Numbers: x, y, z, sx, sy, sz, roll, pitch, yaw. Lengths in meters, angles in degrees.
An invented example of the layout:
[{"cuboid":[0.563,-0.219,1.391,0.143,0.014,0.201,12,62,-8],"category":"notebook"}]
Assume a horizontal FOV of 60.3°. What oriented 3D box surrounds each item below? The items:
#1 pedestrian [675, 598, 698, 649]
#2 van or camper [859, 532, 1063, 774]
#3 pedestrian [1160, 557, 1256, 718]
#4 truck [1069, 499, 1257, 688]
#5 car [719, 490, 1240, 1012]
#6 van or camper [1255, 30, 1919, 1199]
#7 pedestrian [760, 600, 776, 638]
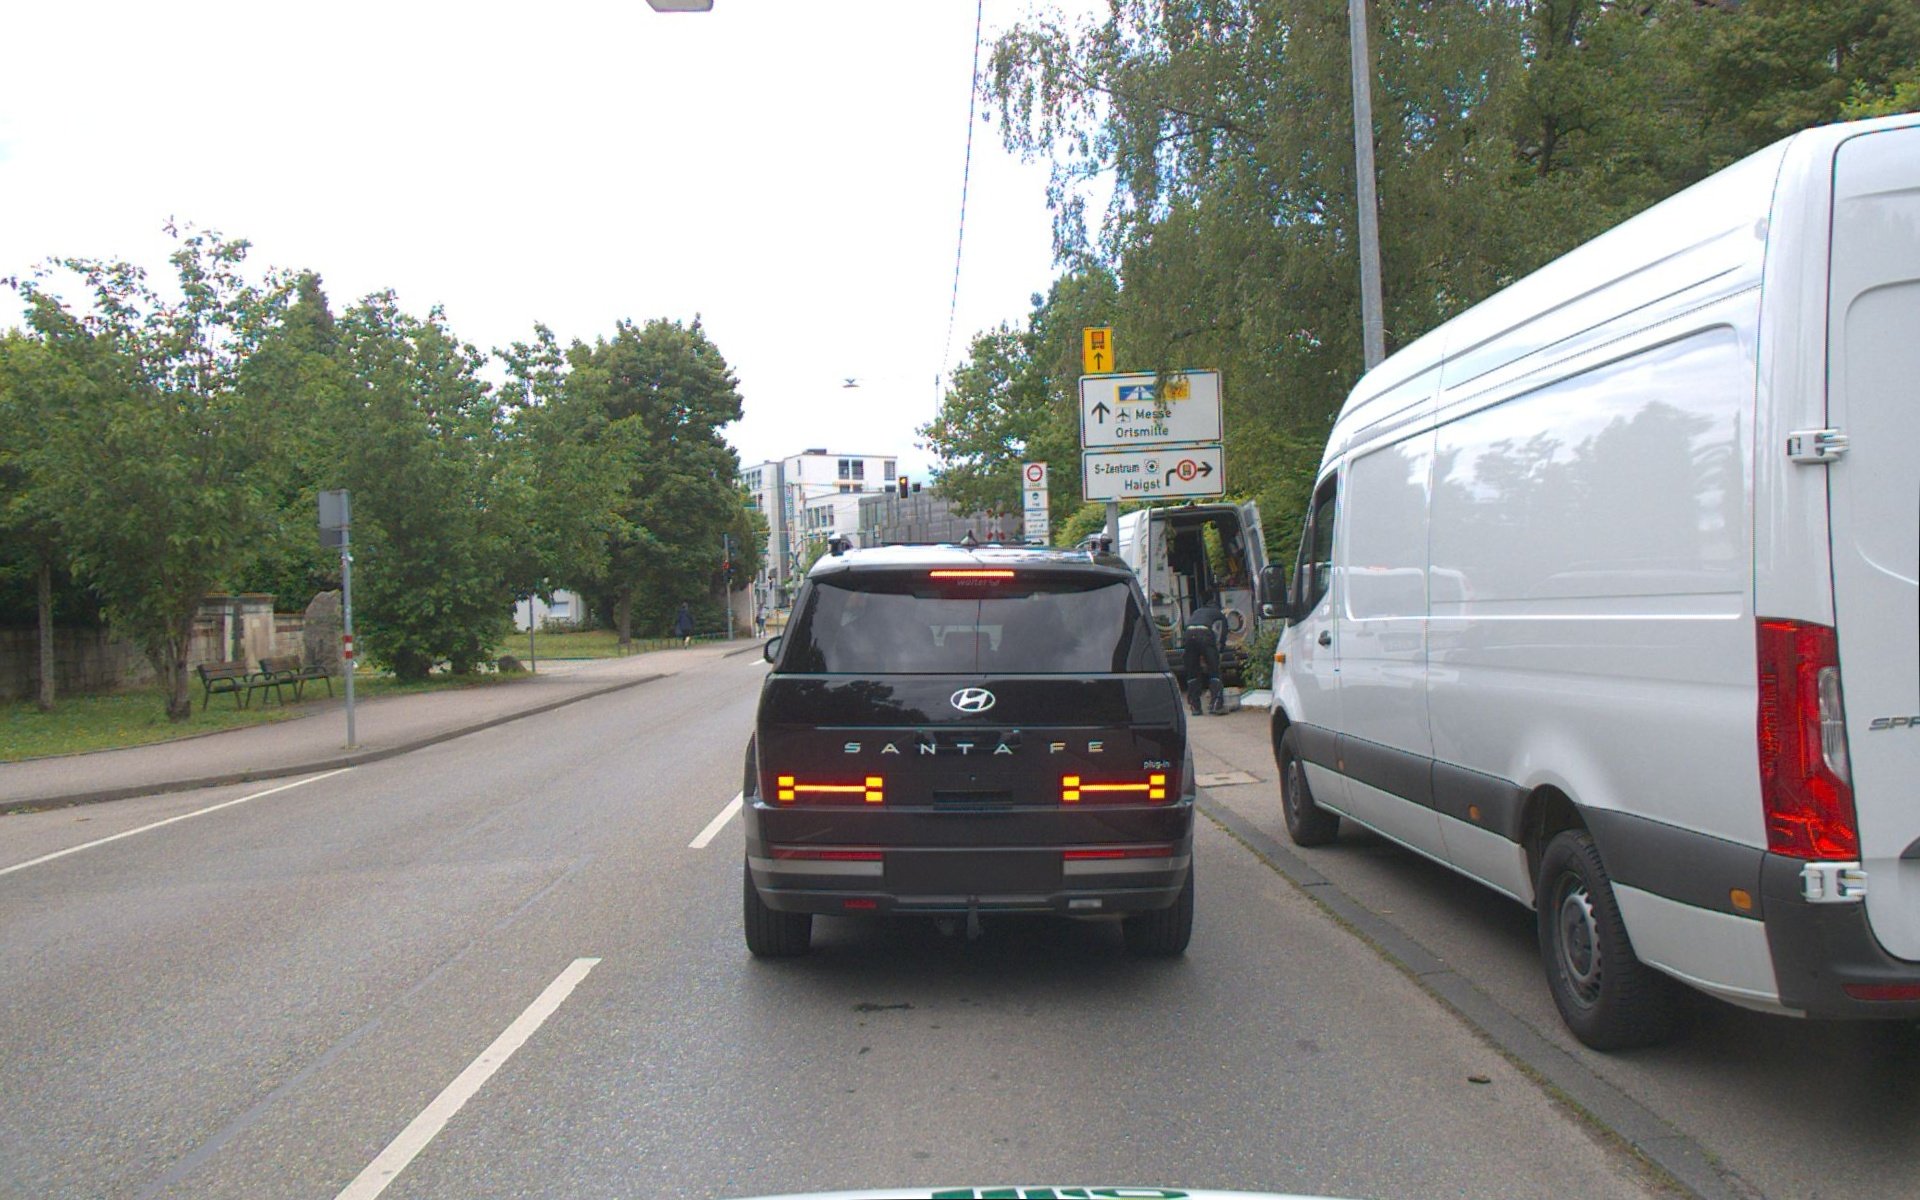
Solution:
[{"cuboid":[-9.496,0.814,57.484,0.724,1.745,0.791,-2,0,-8],"category":"pedestrian"},{"cuboid":[-0.019,0.455,16.374,1.719,2.049,3.999,-2,0,-1],"category":"van or camper"},{"cuboid":[2.909,0.423,19.351,0.745,1.828,0.869,-2,0,38],"category":"pedestrian"},{"cuboid":[3.104,-0.080,26.425,1.904,2.606,5.211,-3,0,-4],"category":"truck"},{"cuboid":[0.042,0.531,7.889,1.851,1.851,3.999,0,0,-1],"category":"car"},{"cuboid":[2.901,0.001,7.070,1.953,2.665,6.540,-2,0,-1],"category":"van or camper"},{"cuboid":[-9.147,0.896,78.852,0.724,1.745,0.791,-2,0,-8],"category":"pedestrian"}]
